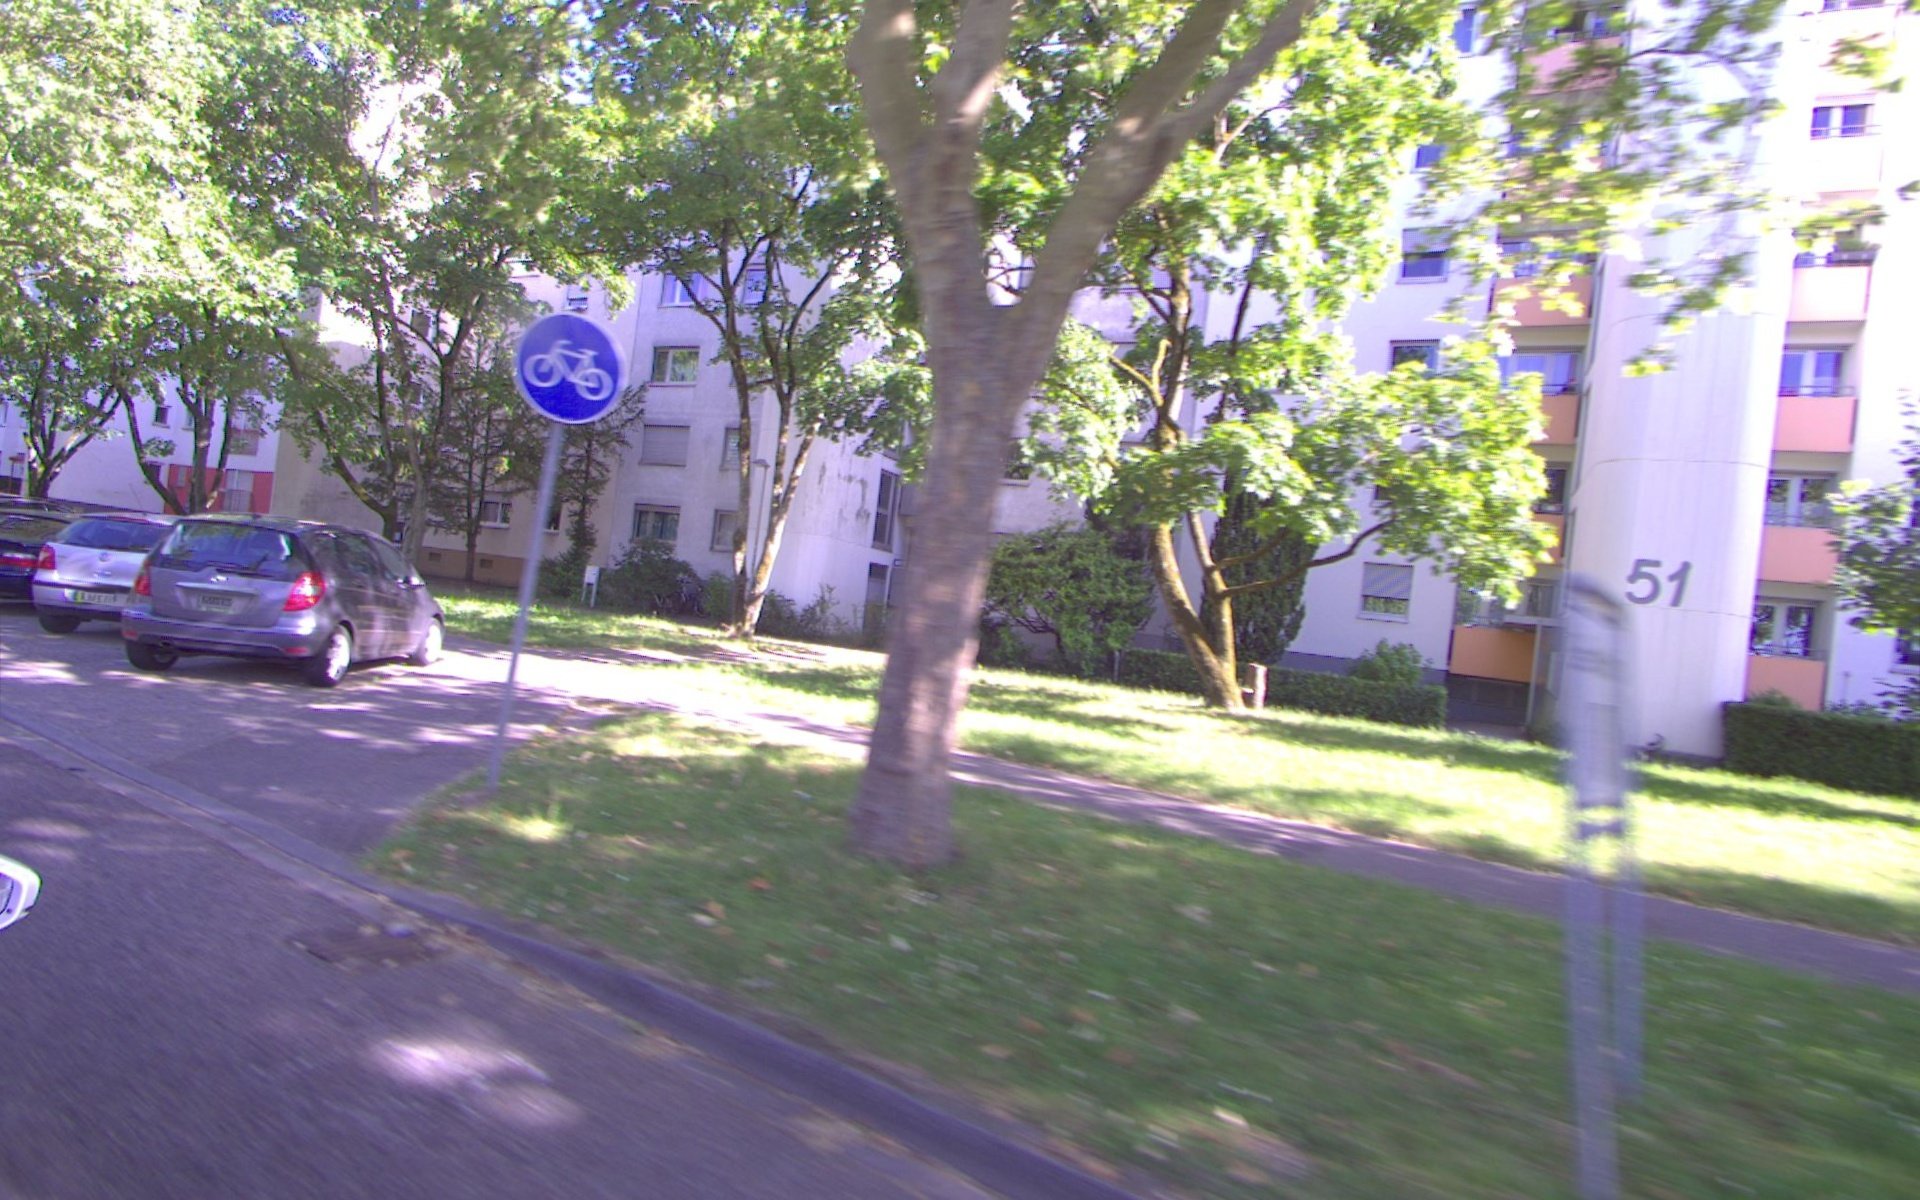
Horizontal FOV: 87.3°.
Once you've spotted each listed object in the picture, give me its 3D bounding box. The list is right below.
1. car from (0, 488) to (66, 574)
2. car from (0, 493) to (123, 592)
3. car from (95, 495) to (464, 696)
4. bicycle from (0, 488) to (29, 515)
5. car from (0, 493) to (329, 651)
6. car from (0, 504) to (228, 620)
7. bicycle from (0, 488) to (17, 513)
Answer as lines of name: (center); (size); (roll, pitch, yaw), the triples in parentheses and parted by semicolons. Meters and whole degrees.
car: (-17.939, -1.324, 17.492); (1.772, 1.529, 4.164); (7, 0, -15)
car: (-15.415, -0.979, 15.791); (1.771, 1.463, 3.879); (7, 0, -12)
car: (-7.029, -0.049, 10.925); (1.769, 1.612, 3.720); (7, 0, -9)
bicycle: (-45.306, -4.704, 47.539); (0.491, 1.144, 1.797); (7, 2, 27)
car: (-9.845, -0.323, 12.750); (1.770, 1.510, 3.577); (7, 0, -10)
car: (-12.515, -0.559, 14.142); (1.769, 1.334, 4.140); (7, 0, -9)
bicycle: (-46.355, -4.822, 48.088); (0.491, 1.144, 1.797); (7, 2, 27)
